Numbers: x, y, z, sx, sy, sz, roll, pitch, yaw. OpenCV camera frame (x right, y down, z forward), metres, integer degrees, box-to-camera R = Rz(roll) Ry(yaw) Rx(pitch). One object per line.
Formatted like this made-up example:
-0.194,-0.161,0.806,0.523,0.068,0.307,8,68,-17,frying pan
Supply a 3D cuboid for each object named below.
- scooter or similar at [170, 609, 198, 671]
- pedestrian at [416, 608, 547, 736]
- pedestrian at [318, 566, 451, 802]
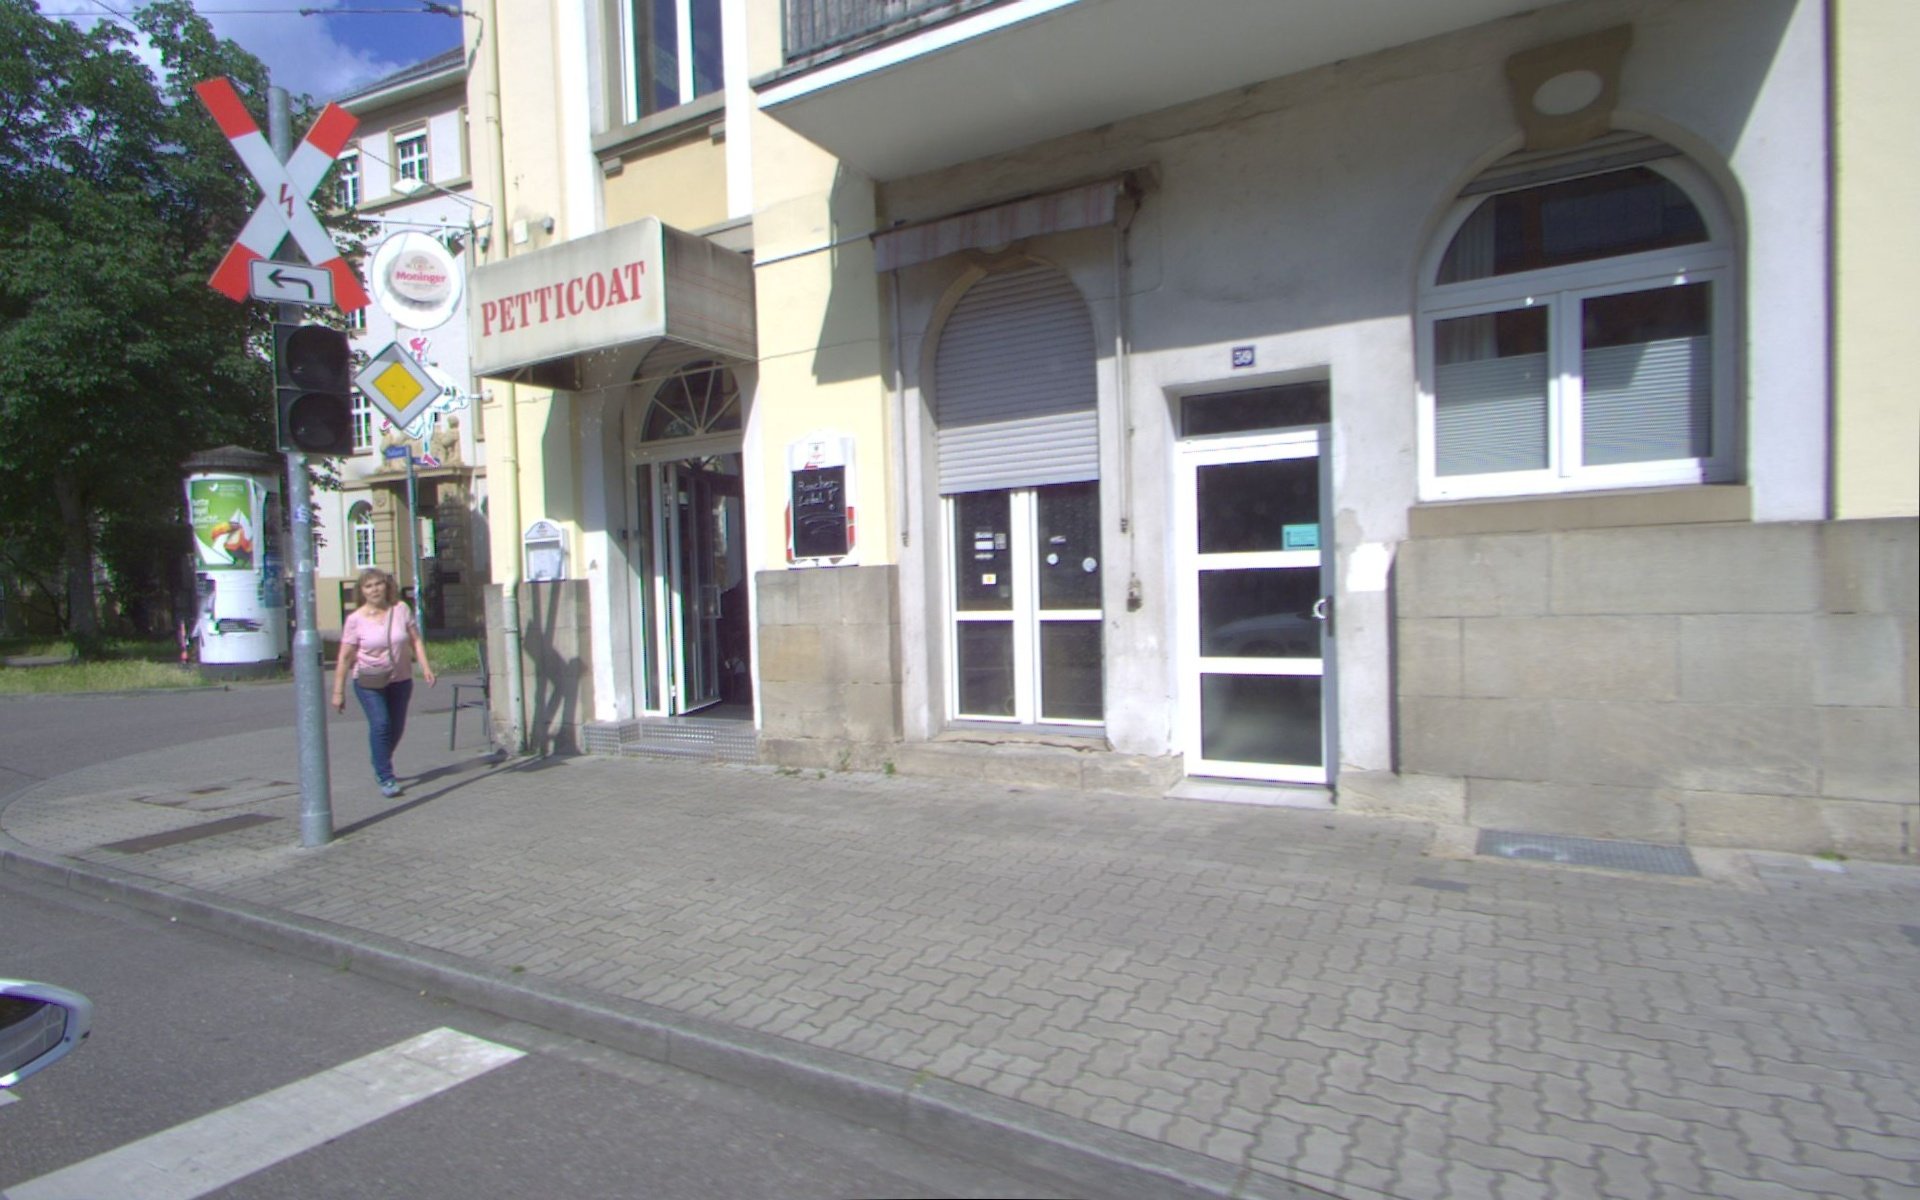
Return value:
-15.521,0.781,20.013,0.303,1.205,1.151,-3,2,-43,scooter or similar
-5.062,0.756,10.586,1.284,1.285,0.534,-3,0,27,pedestrian
-4.381,0.597,7.617,0.667,1.670,0.757,-4,2,-41,pedestrian
